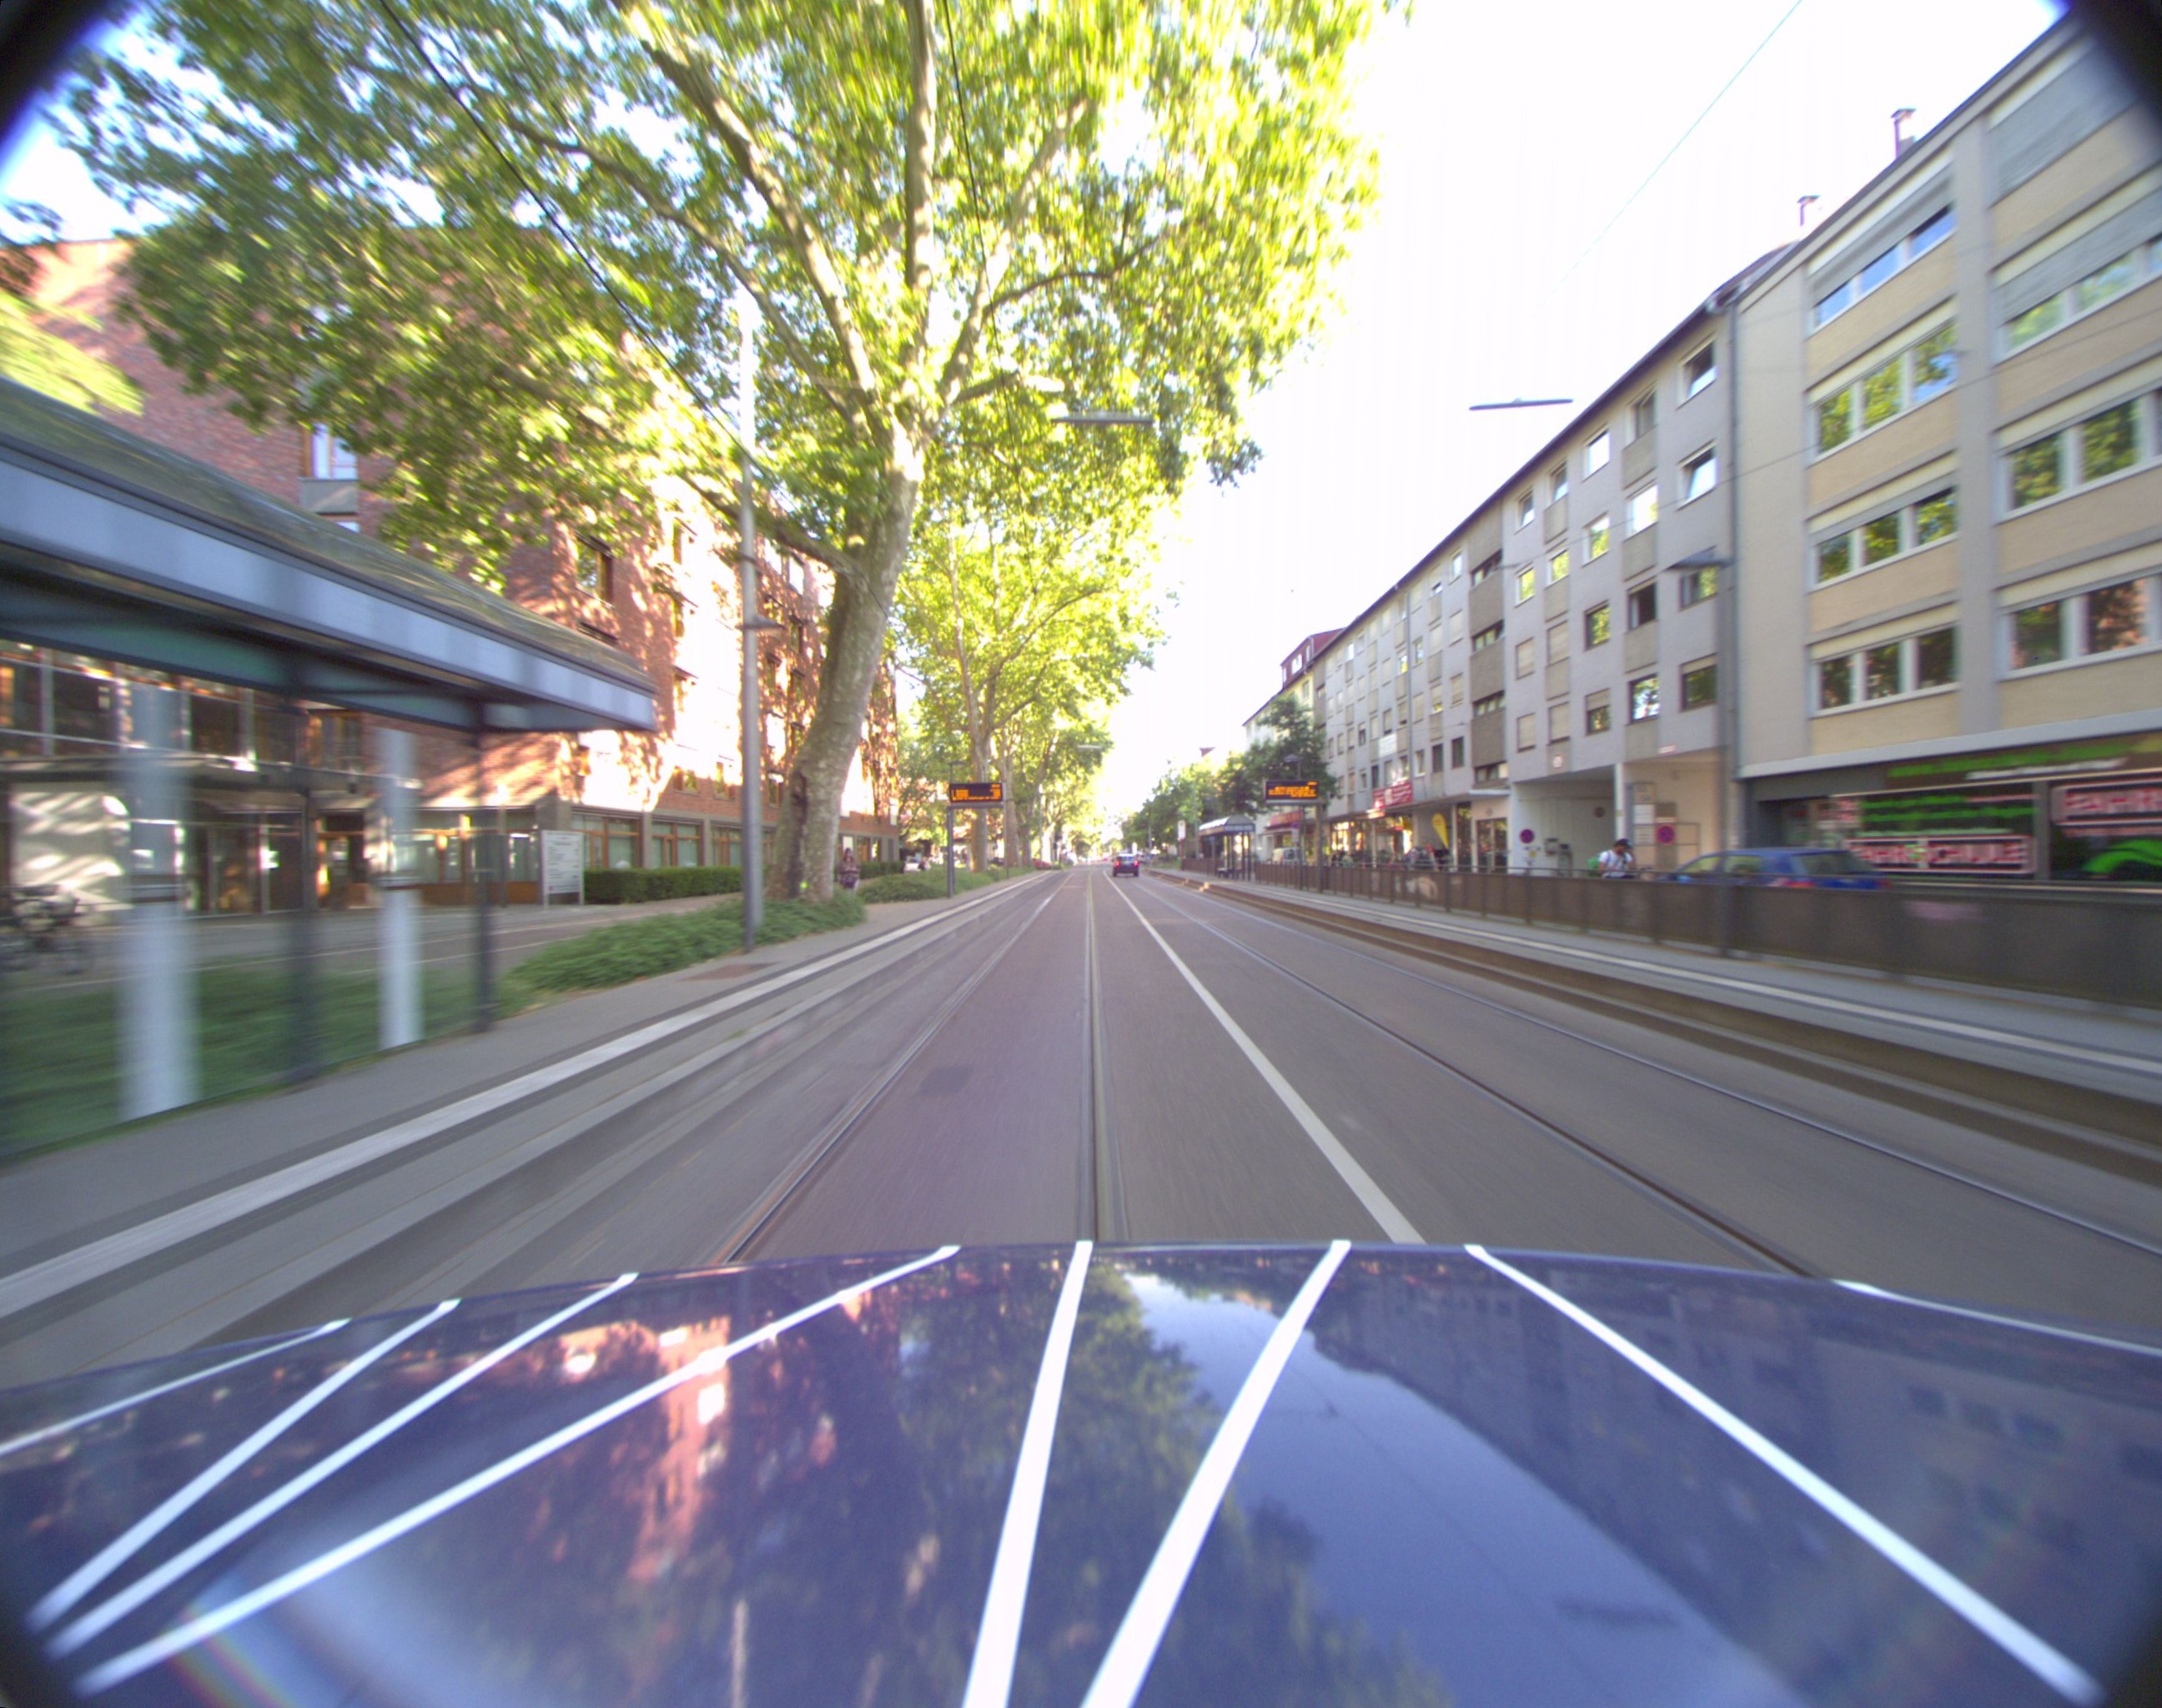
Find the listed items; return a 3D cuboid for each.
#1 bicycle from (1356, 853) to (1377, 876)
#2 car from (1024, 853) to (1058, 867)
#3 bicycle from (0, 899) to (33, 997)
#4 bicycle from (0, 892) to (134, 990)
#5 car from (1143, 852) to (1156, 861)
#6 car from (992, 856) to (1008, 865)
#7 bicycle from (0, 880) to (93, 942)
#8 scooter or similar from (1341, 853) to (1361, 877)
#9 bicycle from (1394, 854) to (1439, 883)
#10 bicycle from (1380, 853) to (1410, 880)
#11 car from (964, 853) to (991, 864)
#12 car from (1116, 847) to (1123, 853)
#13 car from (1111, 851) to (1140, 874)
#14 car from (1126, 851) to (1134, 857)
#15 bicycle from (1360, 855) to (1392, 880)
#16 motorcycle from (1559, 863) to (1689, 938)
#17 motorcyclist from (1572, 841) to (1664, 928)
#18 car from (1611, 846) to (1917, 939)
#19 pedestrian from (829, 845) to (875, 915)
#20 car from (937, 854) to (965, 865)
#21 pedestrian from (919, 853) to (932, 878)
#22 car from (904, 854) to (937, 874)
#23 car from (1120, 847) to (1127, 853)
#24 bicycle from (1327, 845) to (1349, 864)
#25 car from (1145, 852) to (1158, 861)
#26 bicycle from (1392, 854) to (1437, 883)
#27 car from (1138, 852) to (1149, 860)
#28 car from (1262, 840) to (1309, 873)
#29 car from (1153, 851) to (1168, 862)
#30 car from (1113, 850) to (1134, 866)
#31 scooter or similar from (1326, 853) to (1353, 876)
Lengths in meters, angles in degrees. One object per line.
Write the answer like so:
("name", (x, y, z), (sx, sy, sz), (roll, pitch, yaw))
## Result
("bicycle", (14.392, 0.513, 38.274), (0.513, 1.150, 1.688), (-1, 0, 4))
("car", (-4.712, 0.719, 89.459), (3.872, 1.521, 2.000), (-1, 0, 2))
("bicycle", (-13.948, 1.122, 9.101), (2.036, 1.150, 0.572), (1, 1, 1))
("bicycle", (-13.607, 1.112, 9.976), (2.034, 1.150, 0.572), (1, 1, 11))
("car", (11.941, 0.404, 132.593), (1.998, 1.521, 3.678), (-1, 0, 3))
("car", (-13.651, 1.128, 128.528), (1.998, 1.521, 3.678), (-1, 0, 3))
("bicycle", (-21.070, 1.108, 14.885), (1.953, 1.150, 0.732), (0, 1, -25))
("scooter or similar", (13.402, 0.541, 37.728), (0.446, 1.167, 1.274), (-1, 0, -5))
("bicycle", (13.958, 0.581, 31.696), (0.561, 1.150, 2.028), (-1, 0, -15))
("bicycle", (13.977, 0.530, 33.849), (0.494, 1.150, 1.751), (-1, 0, -5))
("car", (-15.517, 0.705, 113.609), (3.674, 1.521, 2.000), (-1, 0, 2))
("car", (12.113, -1.252, 239.757), (1.998, 1.741, 3.677), (-1, 0, 0))
("car", (3.205, 0.599, 55.115), (1.766, 1.579, 3.999), (-1, 0, -1))
("car", (12.830, -0.108, 198.464), (1.998, 1.521, 3.677), (-1, 0, 0))
("bicycle", (13.857, 0.614, 35.781), (0.572, 1.150, 2.036), (-1, 0, -5))
("motorcycle", (9.236, 0.746, 13.035), (0.851, 1.157, 1.915), (-1, 0, 0))
("motorcyclist", (9.220, 0.510, 13.086), (0.875, 1.432, 1.016), (-1, 1, 0))
("car", (12.114, 0.594, 13.957), (1.799, 1.455, 4.282), (0, 0, 1))
("pedestrian", (-5.601, 0.614, 18.558), (0.770, 1.650, 0.914), (-1, 1, -37))
("car", (-19.421, 0.843, 113.683), (3.674, 1.521, 2.000), (-1, 0, 2))
("pedestrian", (-10.828, 0.791, 52.812), (0.710, 1.681, 0.748), (-1, 1, -1))
("car", (-12.612, 0.778, 59.948), (1.657, 1.499, 3.961), (-1, 0, 1))
("car", (12.408, -1.057, 221.387), (1.998, 1.741, 3.677), (-1, 0, 0))
("bicycle", (16.435, 0.033, 48.660), (0.572, 1.150, 2.036), (-1, 0, -5))
("car", (11.881, 0.363, 127.768), (1.998, 1.521, 3.678), (-1, 0, 3))
("bicycle", (13.709, 0.595, 31.328), (0.561, 1.150, 2.028), (-1, 0, -15))
("car", (11.995, 0.293, 146.919), (1.998, 1.521, 3.678), (-1, 0, 3))
("car", (12.692, 0.150, 47.354), (1.808, 1.923, 4.049), (-1, 0, -1))
("car", (11.756, 0.379, 112.087), (1.998, 1.521, 3.678), (-1, 0, 3))
("car", (3.983, 0.352, 71.058), (1.766, 1.417, 4.000), (-1, 0, 1))
("scooter or similar", (13.278, 0.541, 39.047), (0.447, 1.167, 1.272), (-1, 1, -36))
